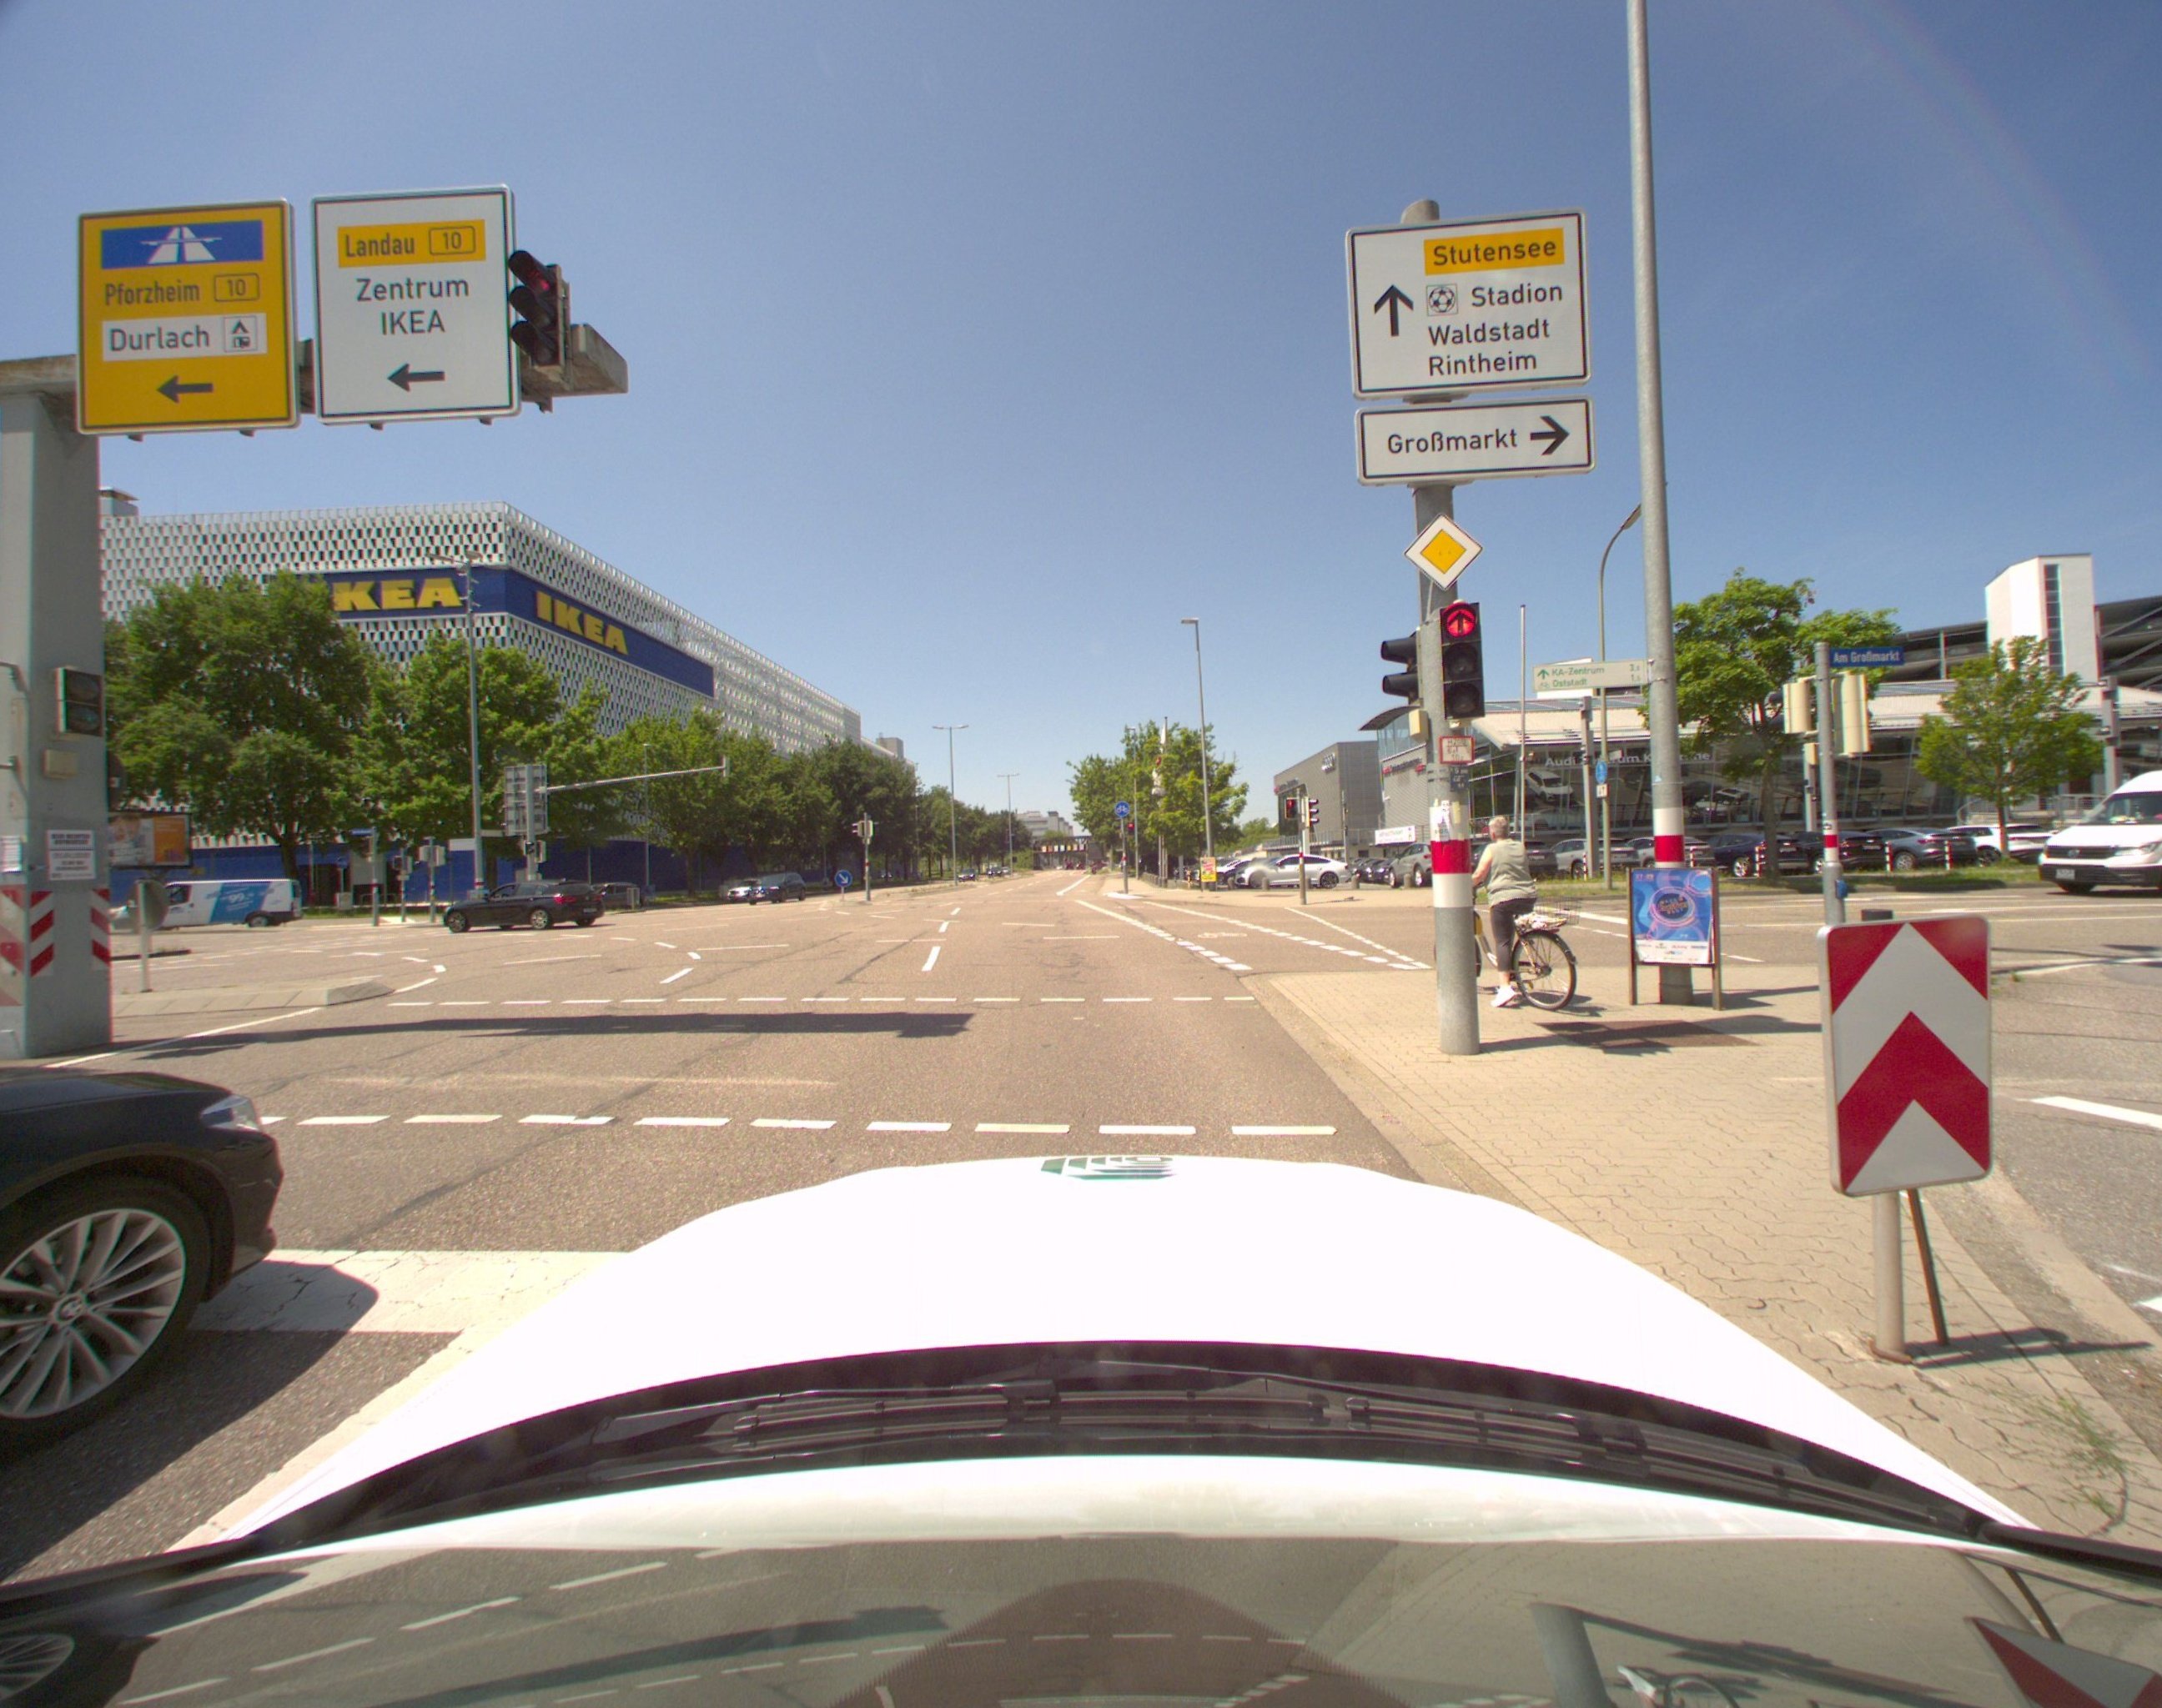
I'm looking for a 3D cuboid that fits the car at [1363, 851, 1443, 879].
[{"bbox_3d":[19.297,0.648,48.909,4.076,1.460,1.720,-2,0,2],"label":"car"}]

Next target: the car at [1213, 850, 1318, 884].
[{"bbox_3d":[8.947,0.607,39.865,4.721,1.457,2.002,-2,0,3],"label":"car"}]

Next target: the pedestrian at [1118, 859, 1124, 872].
[{"bbox_3d":[4.718,1.371,96.379,0.665,1.510,0.736,-2,-1,1],"label":"pedestrian"}]

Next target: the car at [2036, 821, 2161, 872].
[{"bbox_3d":[39.390,-0.287,30.874,3.665,1.777,1.759,-3,-1,28],"label":"car"}]

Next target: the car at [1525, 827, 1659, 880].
[{"bbox_3d":[17.943,-0.021,28.882,1.986,1.639,4.443,-3,0,2],"label":"car"}]

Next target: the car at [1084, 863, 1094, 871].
[{"bbox_3d":[1.013,1.659,105.399,1.133,1.042,2.309,-2,0,2],"label":"car"}]

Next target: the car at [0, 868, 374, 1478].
[{"bbox_3d":[-3.560,0.795,0.696,1.793,1.466,4.624,-1,0,1],"label":"car"}]

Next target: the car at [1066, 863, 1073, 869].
[{"bbox_3d":[-3.233,3.311,225.894,1.765,1.728,4.001,-3,-1,2],"label":"car"}]

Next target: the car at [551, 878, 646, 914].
[{"bbox_3d":[-24.603,2.102,41.633,1.753,1.533,3.778,0,2,30],"label":"car"}]

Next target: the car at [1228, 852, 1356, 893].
[{"bbox_3d":[8.507,0.730,33.144,4.721,1.457,2.002,-2,0,3],"label":"car"}]

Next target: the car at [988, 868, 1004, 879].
[{"bbox_3d":[-11.660,2.676,111.566,1.678,1.411,3.666,-3,-1,2],"label":"car"}]

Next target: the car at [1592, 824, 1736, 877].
[{"bbox_3d":[20.341,-0.109,28.677,1.878,1.639,4.526,-3,0,2],"label":"car"}]

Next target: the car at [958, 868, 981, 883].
[{"bbox_3d":[-12.024,2.315,88.064,1.725,1.427,3.707,-3,-1,2],"label":"car"}]

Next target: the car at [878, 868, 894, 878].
[{"bbox_3d":[-37.273,3.688,155.646,2.004,1.810,3.994,0,0,-26],"label":"car"}]

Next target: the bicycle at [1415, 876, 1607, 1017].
[{"bbox_3d":[4.056,0.811,7.894,0.784,1.127,1.919,-1,0,-2],"label":"bicycle"}]

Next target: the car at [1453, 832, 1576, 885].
[{"bbox_3d":[15.093,0.143,28.673,1.986,1.639,4.559,-2,0,2],"label":"car"}]

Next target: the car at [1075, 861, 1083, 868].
[{"bbox_3d":[-0.541,2.886,220.443,1.765,1.728,4.001,-3,-1,2],"label":"car"}]

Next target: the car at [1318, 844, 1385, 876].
[{"bbox_3d":[18.747,0.415,56.585,3.971,2.014,2.001,-2,-1,2],"label":"car"}]

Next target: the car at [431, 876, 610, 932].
[{"bbox_3d":[-16.055,1.426,23.421,4.197,1.411,1.676,-2,-1,9],"label":"car"}]

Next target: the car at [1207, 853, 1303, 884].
[{"bbox_3d":[9.279,0.760,43.712,4.726,1.457,2.000,-2,0,0],"label":"car"}]

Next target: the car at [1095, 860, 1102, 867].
[{"bbox_3d":[4.763,2.665,220.902,1.765,1.728,4.001,-3,-1,2],"label":"car"}]

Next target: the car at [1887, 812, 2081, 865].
[{"bbox_3d":[31.217,-0.503,28.393,1.821,1.639,4.476,-3,0,2],"label":"car"}]

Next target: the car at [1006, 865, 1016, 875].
[{"bbox_3d":[-12.811,2.914,149.788,1.645,1.653,4.160,-2,-1,-2],"label":"car"}]

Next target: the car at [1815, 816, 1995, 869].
[{"bbox_3d":[28.563,-0.369,28.467,1.821,1.639,4.476,-3,0,2],"label":"car"}]

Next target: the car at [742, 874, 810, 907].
[{"bbox_3d":[-16.639,1.938,44.670,1.868,1.598,4.498,-3,-1,2],"label":"car"}]

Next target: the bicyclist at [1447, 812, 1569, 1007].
[{"bbox_3d":[4.027,0.498,7.732,0.732,1.749,0.753,-1,0,-3],"label":"bicyclist"}]

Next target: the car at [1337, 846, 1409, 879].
[{"bbox_3d":[19.340,0.565,54.070,3.971,2.014,2.001,-2,-1,2],"label":"car"}]

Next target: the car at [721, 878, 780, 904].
[{"bbox_3d":[-21.811,2.428,53.935,1.611,1.457,4.083,-3,-1,11],"label":"car"}]

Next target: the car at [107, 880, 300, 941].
[{"bbox_3d":[-34.067,2.138,31.855,4.785,2.008,1.978,-2,-1,-36],"label":"car"}]

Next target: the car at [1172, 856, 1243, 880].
[{"bbox_3d":[9.085,0.975,58.763,4.726,1.457,2.000,-3,0,0],"label":"car"}]

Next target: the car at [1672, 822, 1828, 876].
[{"bbox_3d":[23.181,-0.173,28.490,1.821,1.639,4.476,-3,0,2],"label":"car"}]

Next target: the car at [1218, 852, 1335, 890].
[{"bbox_3d":[8.535,0.738,35.868,4.721,1.457,2.002,-2,-2,3],"label":"car"}]

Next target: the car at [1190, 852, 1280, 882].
[{"bbox_3d":[8.754,0.730,46.495,4.726,1.457,2.000,-2,0,0],"label":"car"}]

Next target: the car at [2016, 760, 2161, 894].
[{"bbox_3d":[22.929,-0.606,16.264,5.755,2.534,2.105,-2,0,4],"label":"car"}]

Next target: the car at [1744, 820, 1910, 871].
[{"bbox_3d":[25.862,-0.283,28.476,1.821,1.640,4.476,-1,0,2],"label":"car"}]

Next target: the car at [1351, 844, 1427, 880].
[{"bbox_3d":[19.317,0.510,51.253,3.971,2.014,2.001,-2,-1,2],"label":"car"}]

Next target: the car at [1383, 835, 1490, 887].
[{"bbox_3d":[12.431,0.232,28.832,1.986,1.639,4.270,-2,0,2],"label":"car"}]
